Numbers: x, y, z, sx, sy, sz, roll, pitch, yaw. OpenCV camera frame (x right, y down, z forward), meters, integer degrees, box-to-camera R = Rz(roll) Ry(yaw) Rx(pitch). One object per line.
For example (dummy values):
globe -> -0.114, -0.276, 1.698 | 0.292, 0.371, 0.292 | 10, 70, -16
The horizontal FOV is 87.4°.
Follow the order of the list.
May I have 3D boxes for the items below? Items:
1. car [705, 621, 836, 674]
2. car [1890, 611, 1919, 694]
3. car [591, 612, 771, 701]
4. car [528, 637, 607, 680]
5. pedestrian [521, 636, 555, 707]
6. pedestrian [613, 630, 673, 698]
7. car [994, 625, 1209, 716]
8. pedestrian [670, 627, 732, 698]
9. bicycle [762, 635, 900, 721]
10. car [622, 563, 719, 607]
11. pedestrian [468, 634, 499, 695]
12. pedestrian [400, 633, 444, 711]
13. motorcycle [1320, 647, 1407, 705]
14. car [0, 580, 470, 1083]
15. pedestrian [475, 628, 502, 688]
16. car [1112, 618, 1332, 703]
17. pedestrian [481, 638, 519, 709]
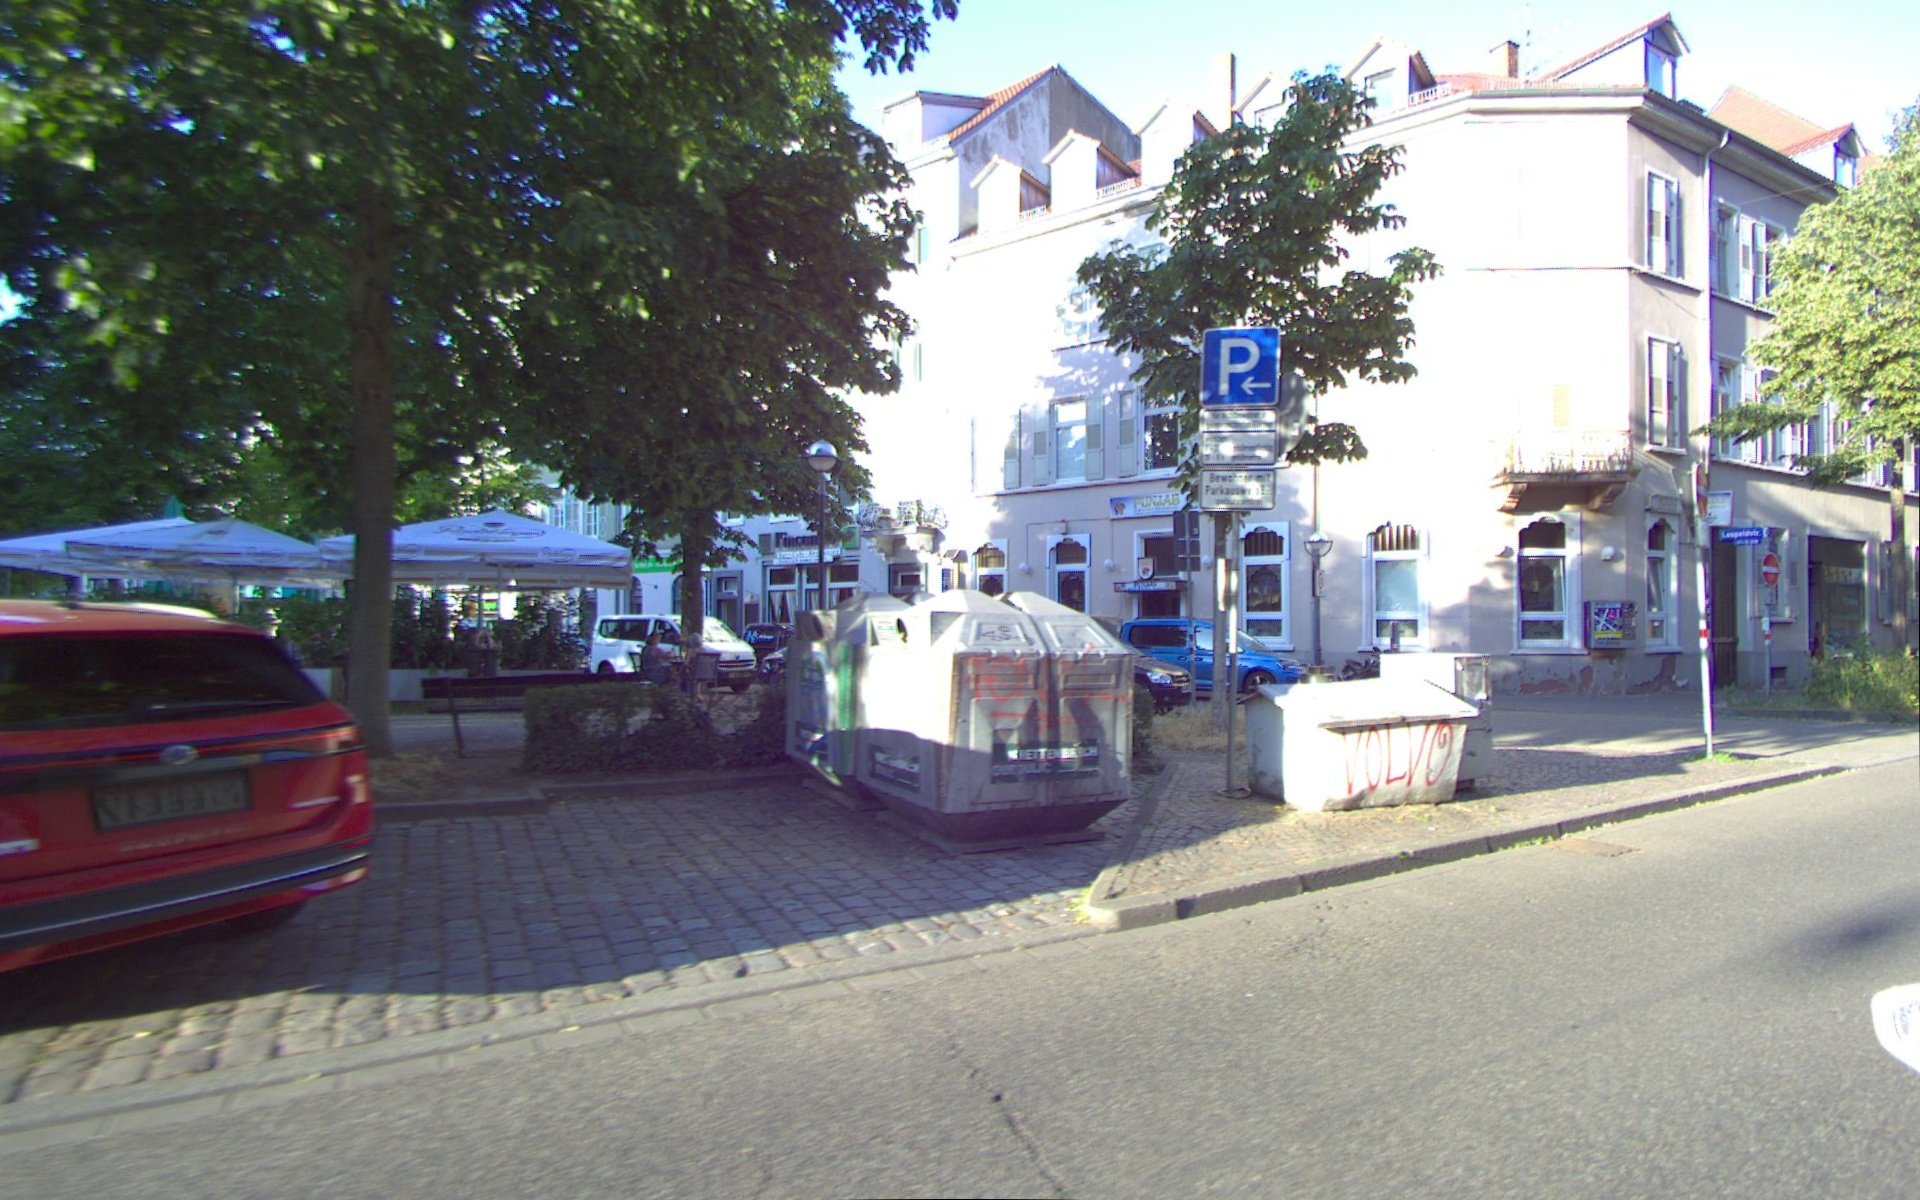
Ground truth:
car -> -5.829, 1.403, 30.717 | 3.920, 1.459, 1.831 | 0, 0, 39
car -> 23.315, 1.216, 21.644 | 2.009, 1.859, 4.429 | 2, -1, -29
car -> -7.162, 1.322, 25.519 | 4.757, 2.013, 2.034 | 0, 0, 39
car -> -11.374, 1.660, 29.082 | 2.444, 1.104, 1.070 | 0, 0, 39
pedestrian -> -7.176, 1.214, 17.104 | 0.518, 1.170, 0.533 | 0, -2, -22
pedestrian -> -5.708, 1.142, 18.091 | 0.842, 1.173, 0.790 | 0, -3, -34
car -> 2.518, 1.200, 18.154 | 3.470, 1.399, 1.699 | 0, 0, 38
pedestrian -> -4.610, 1.103, 17.855 | 0.842, 1.215, 0.790 | 0, -3, -34
bicycle -> -1.706, 1.013, 13.332 | 1.781, 1.083, 0.360 | 0, 0, -18
car -> -10.397, -0.508, 36.001 | 3.560, 1.501, 1.605 | 0, 0, 39
pedestrian -> -9.549, 1.288, 20.153 | 0.518, 1.189, 0.533 | 0, -2, -22
pedestrian -> -8.441, 1.120, 15.778 | 0.527, 1.187, 0.578 | 0, -2, -22
motorcycle -> 8.302, 1.546, 20.751 | 0.733, 1.044, 2.096 | 0, 0, -7
car -> -4.362, 0.721, 4.428 | 3.926, 1.505, 1.998 | -1, -1, 27
pedestrian -> -10.356, 1.275, 22.071 | 0.518, 1.292, 0.533 | 0, -2, -22
car -> 5.769, 1.257, 22.313 | 4.360, 1.699, 1.954 | -1, -1, 35
pedestrian -> -7.696, 1.227, 16.817 | 0.519, 1.169, 0.533 | 1, -3, -22
